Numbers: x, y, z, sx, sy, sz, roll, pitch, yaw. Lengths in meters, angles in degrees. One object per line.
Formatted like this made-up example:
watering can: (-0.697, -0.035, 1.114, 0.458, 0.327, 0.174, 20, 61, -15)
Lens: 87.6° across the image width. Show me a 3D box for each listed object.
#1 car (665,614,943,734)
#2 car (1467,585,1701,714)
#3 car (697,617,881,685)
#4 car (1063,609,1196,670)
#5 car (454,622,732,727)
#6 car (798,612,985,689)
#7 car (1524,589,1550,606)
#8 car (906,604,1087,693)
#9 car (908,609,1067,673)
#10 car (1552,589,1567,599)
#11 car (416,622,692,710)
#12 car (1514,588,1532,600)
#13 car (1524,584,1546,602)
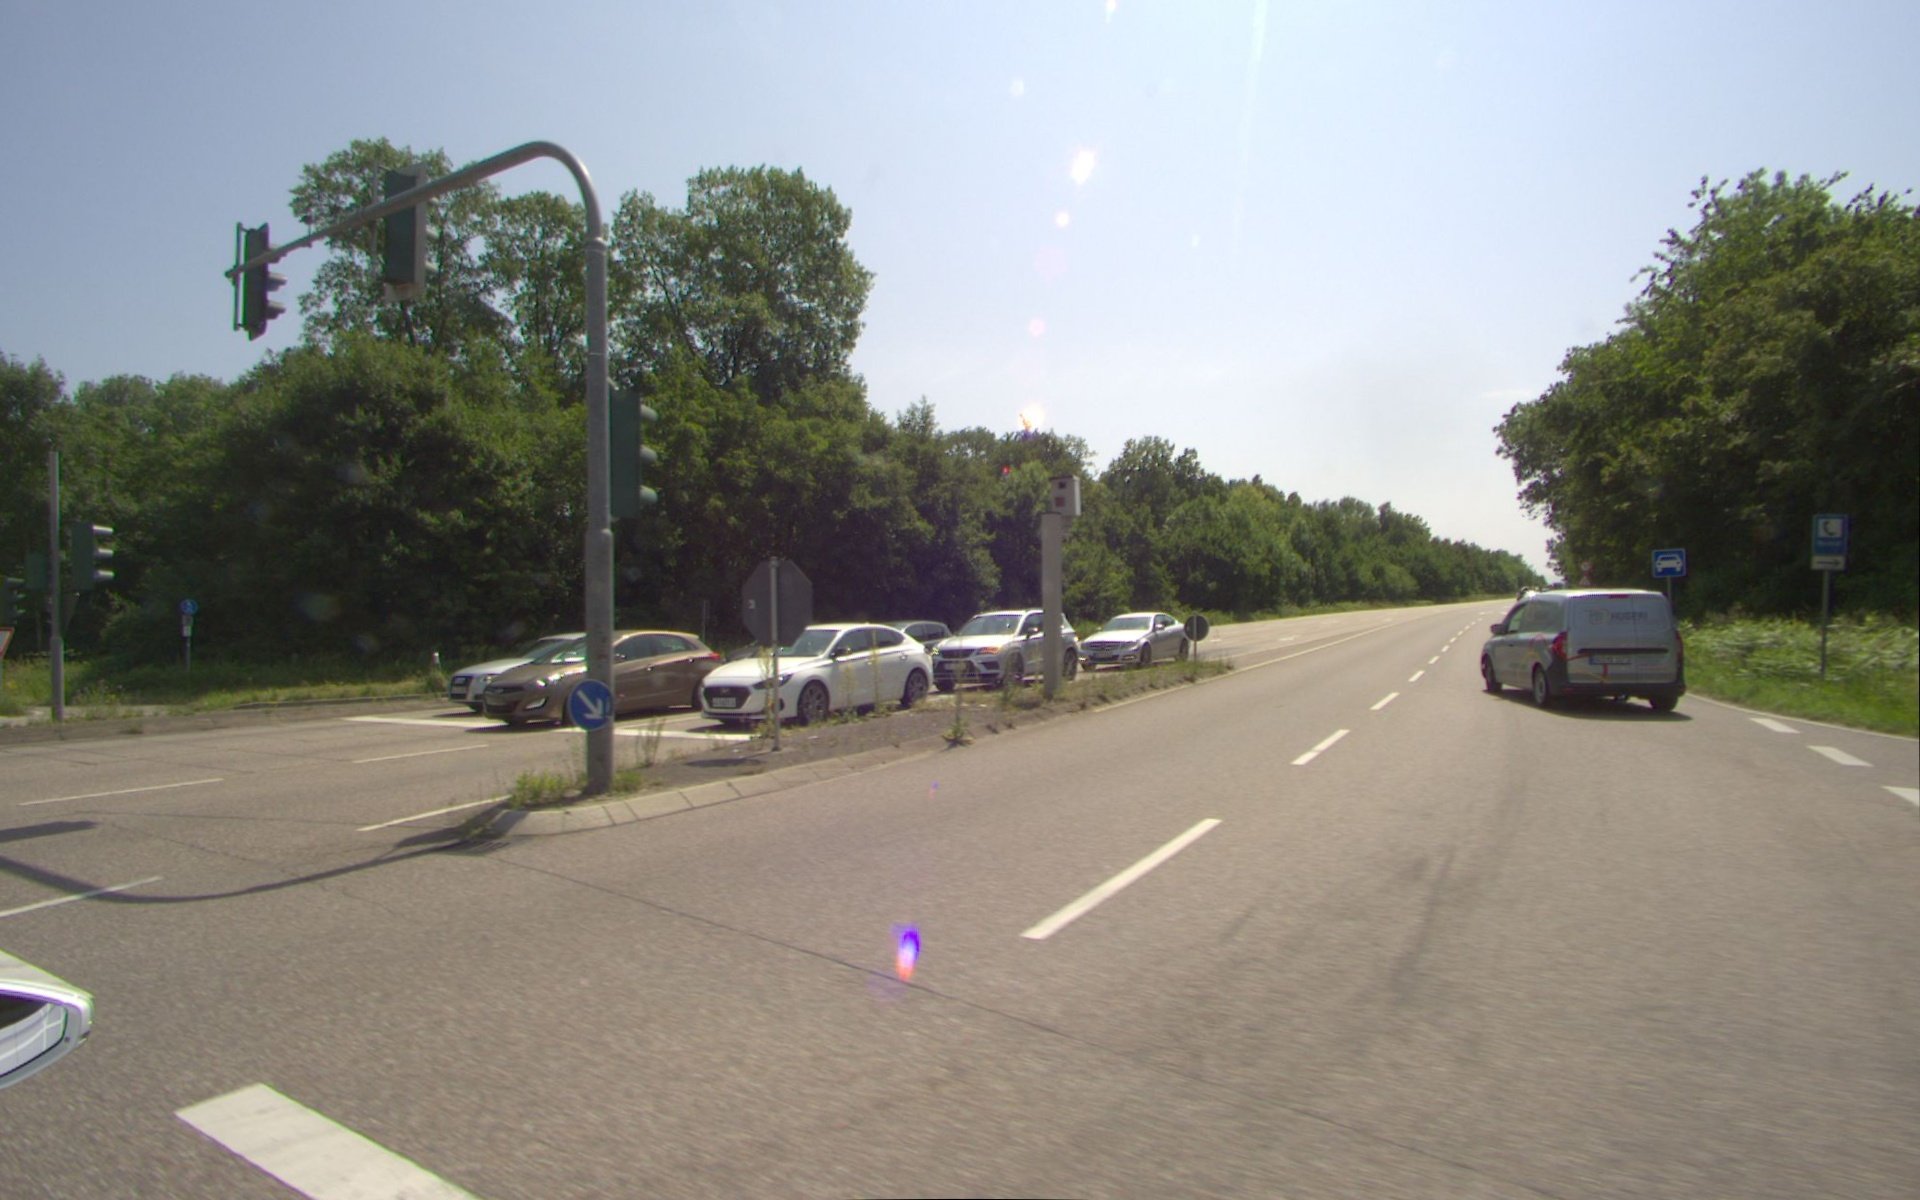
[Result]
car: (-2.260, 1.029, 15.745, 1.971, 1.555, 4.412, -1, -1, 31)
car: (9.799, 0.746, 16.130, 1.728, 1.796, 4.112, 0, -1, 9)
car: (-4.230, 1.234, 25.507, 2.082, 1.518, 4.607, -2, -1, 32)
car: (4.616, 1.007, 26.768, 1.947, 1.433, 4.321, -2, -1, 33)
car: (-5.986, 1.134, 16.816, 1.966, 1.466, 4.086, -1, -1, 30)
car: (-1.461, 1.102, 23.046, 2.092, 1.555, 4.410, -2, -1, 32)
car: (52.623, -0.202, 91.293, 1.821, 1.518, 4.437, -1, -1, 33)
car: (0.875, 0.936, 21.087, 1.972, 1.681, 4.163, -1, -1, 32)
car: (0.885, 1.096, 28.081, 2.108, 1.553, 5.117, -2, -1, 32)
car: (96.163, -1.026, 160.644, 1.821, 1.518, 4.437, -1, -1, 33)
car: (-8.002, 1.240, 20.249, 1.992, 1.517, 4.921, -2, -2, 33)
car: (74.720, -0.727, 132.782, 1.821, 1.518, 4.437, -1, -1, 33)
car: (61.143, -0.741, 106.459, 1.821, 1.774, 4.437, -1, -1, 33)
